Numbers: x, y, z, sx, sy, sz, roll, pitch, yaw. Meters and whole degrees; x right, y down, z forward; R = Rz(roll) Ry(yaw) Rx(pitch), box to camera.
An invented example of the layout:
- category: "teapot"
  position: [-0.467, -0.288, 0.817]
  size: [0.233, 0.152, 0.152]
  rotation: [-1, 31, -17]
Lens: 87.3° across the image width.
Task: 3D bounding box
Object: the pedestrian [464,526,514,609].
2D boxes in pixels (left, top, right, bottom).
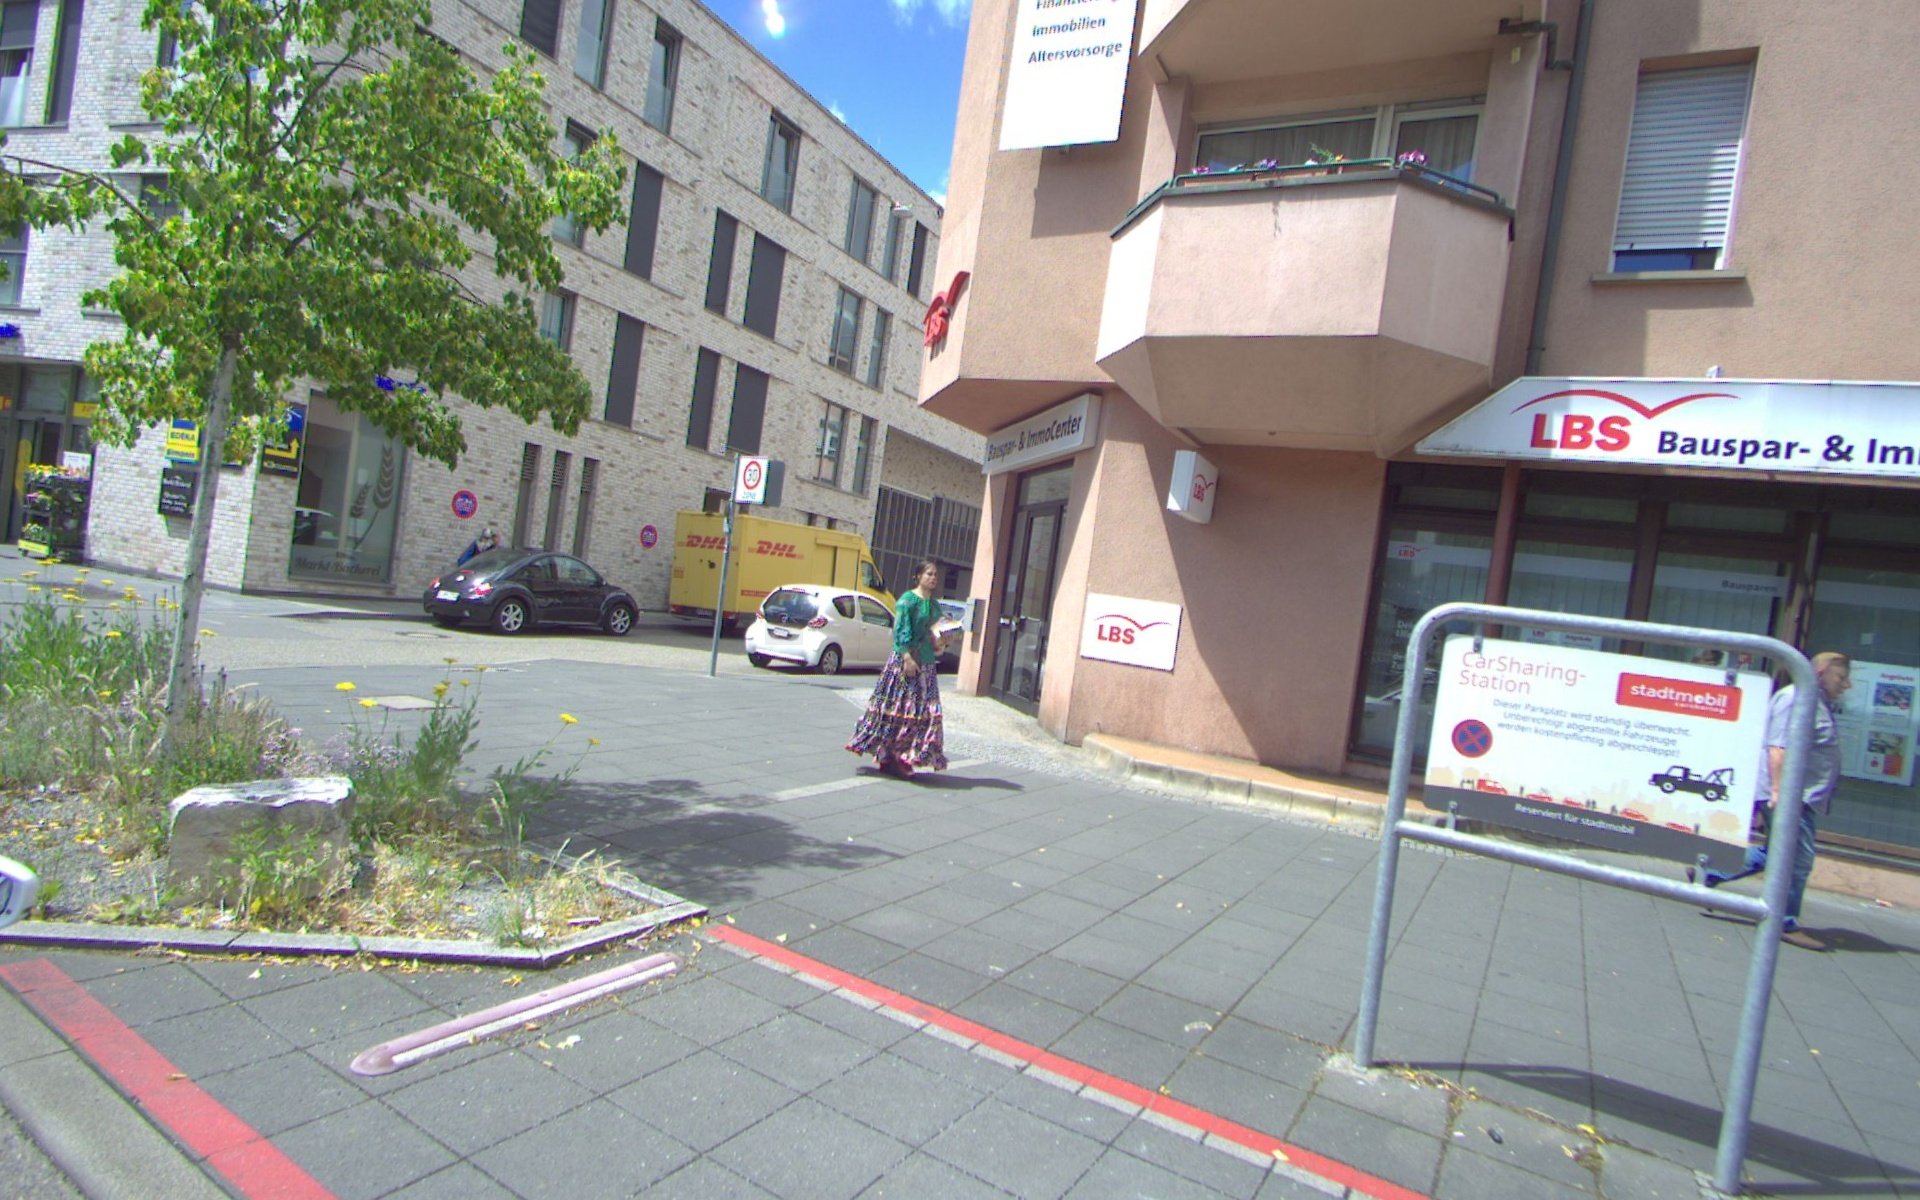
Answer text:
- category: "pedestrian"
  position: [-9.601, -0.650, 20.514]
  size: [0.592, 1.591, 0.523]
  rotation: [7, -1, -2]

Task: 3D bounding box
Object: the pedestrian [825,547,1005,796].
- category: "pedestrian"
  position: [-0.331, 0.502, 7.527]
  size: [0.912, 1.661, 0.744]
  rotation: [8, 3, 31]

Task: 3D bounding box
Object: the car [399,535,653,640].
- category: "car"
  position: [-7.704, -0.161, 18.236]
  size: [1.752, 1.496, 3.900]
  rotation: [8, 1, 28]

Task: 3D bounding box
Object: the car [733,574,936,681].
- category: "car"
  position: [-2.093, 0.506, 17.604]
  size: [1.689, 1.496, 3.384]
  rotation: [8, 1, 30]

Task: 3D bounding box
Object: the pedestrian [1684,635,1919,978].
- category: "pedestrian"
  position: [4.892, 1.110, 5.794]
  size: [0.928, 1.707, 0.717]
  rotation: [6, 1, 28]

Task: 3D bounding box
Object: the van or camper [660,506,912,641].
- category: "van or camper"
  position: [-4.047, -0.492, 25.135]
  size: [2.238, 2.771, 6.863]
  rotation: [6, 1, 29]

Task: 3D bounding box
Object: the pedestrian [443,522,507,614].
- category: "pedestrian"
  position: [-9.572, -0.614, 19.877]
  size: [0.801, 1.690, 0.555]
  rotation: [7, -1, -2]

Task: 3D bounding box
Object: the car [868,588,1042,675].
- category: "car"
  position: [0.009, 0.703, 21.476]
  size: [1.801, 1.496, 4.013]
  rotation: [8, 1, 30]
